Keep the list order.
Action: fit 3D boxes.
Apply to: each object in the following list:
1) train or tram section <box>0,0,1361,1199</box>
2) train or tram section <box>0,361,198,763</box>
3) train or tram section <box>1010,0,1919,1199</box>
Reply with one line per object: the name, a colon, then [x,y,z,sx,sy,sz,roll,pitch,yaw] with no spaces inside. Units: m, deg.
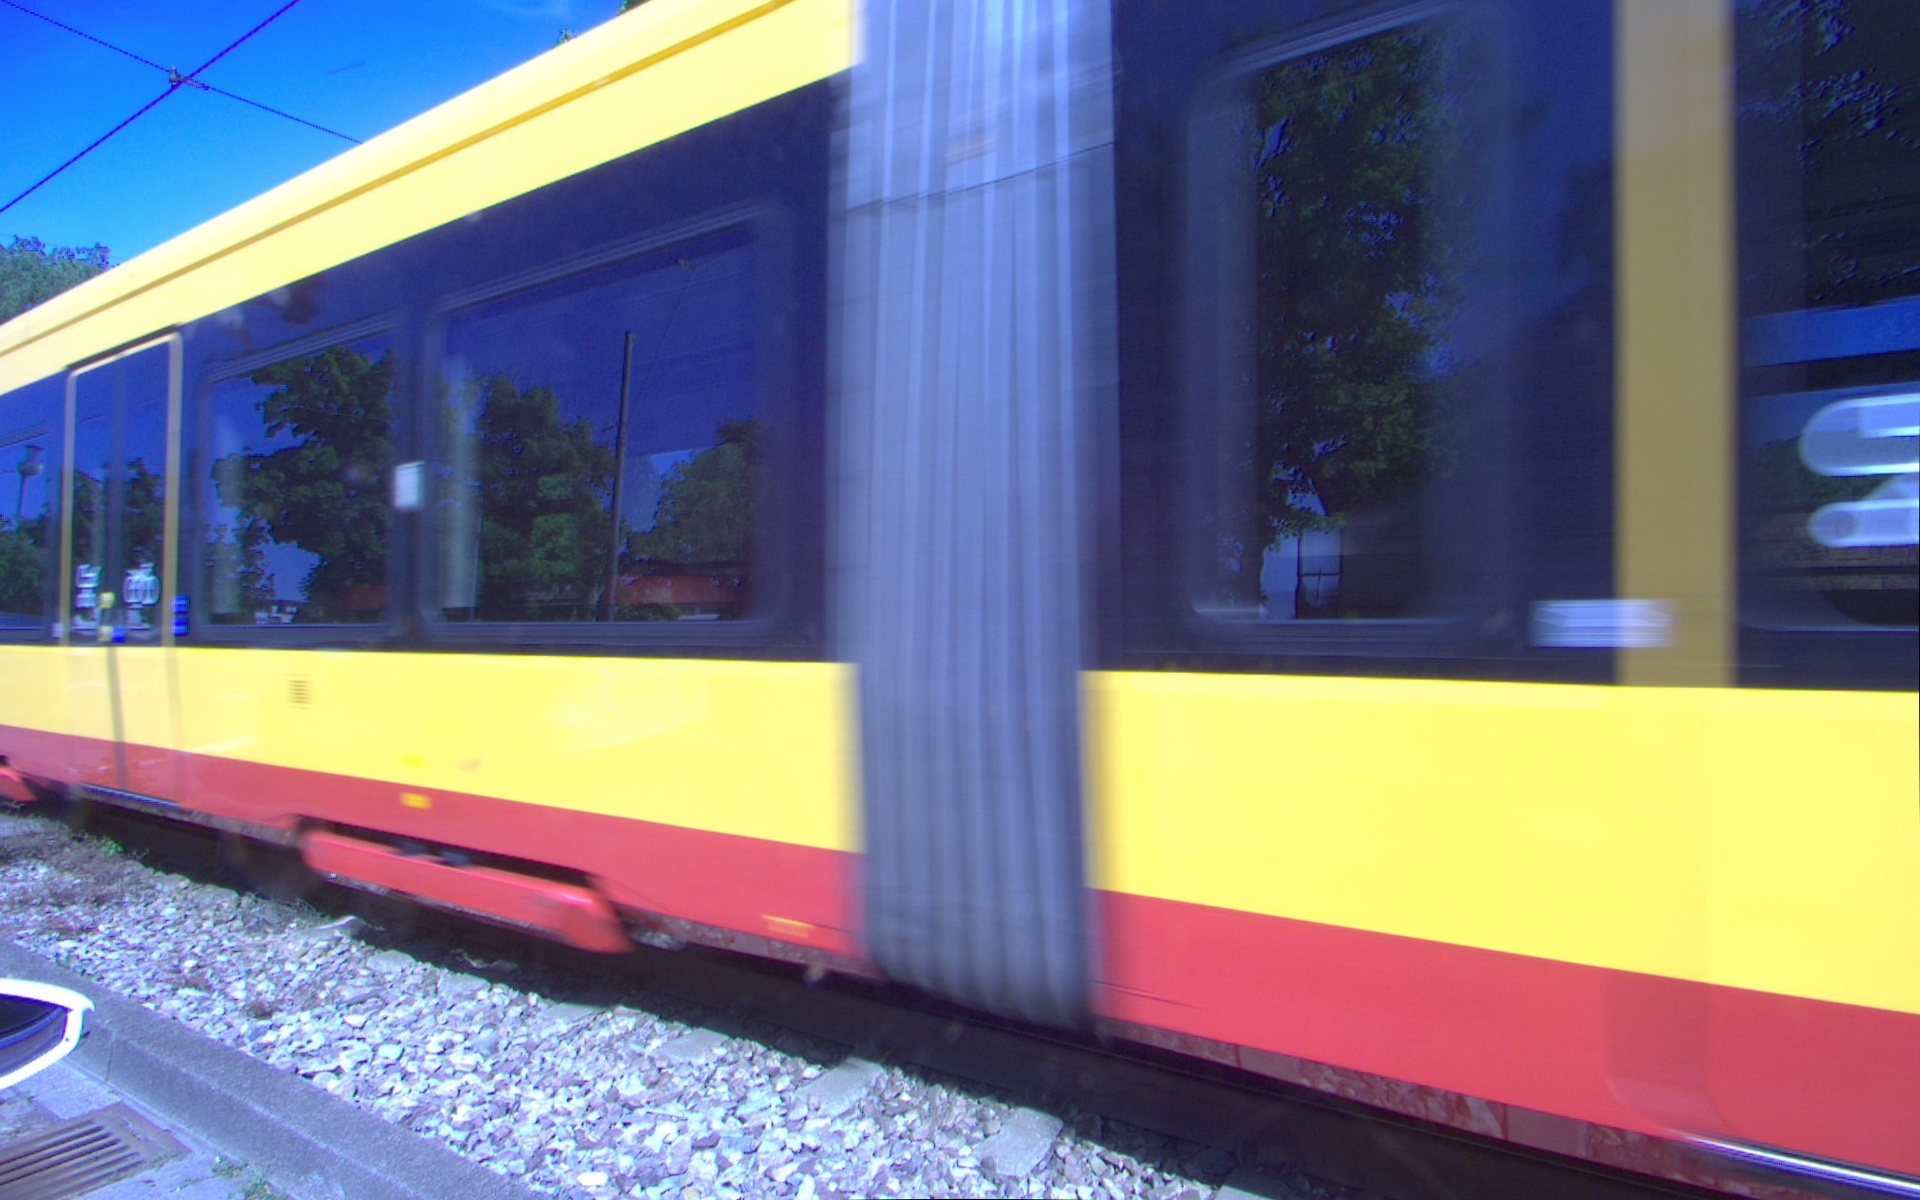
train or tram section: [-4.102,-0.324,6.581,12.214,3.907,2.864,-1,1,32]
train or tram section: [-13.690,-0.306,12.510,10.381,3.907,2.866,-1,1,30]
train or tram section: [6.021,-0.566,0.189,12.214,3.907,2.864,-1,1,32]
